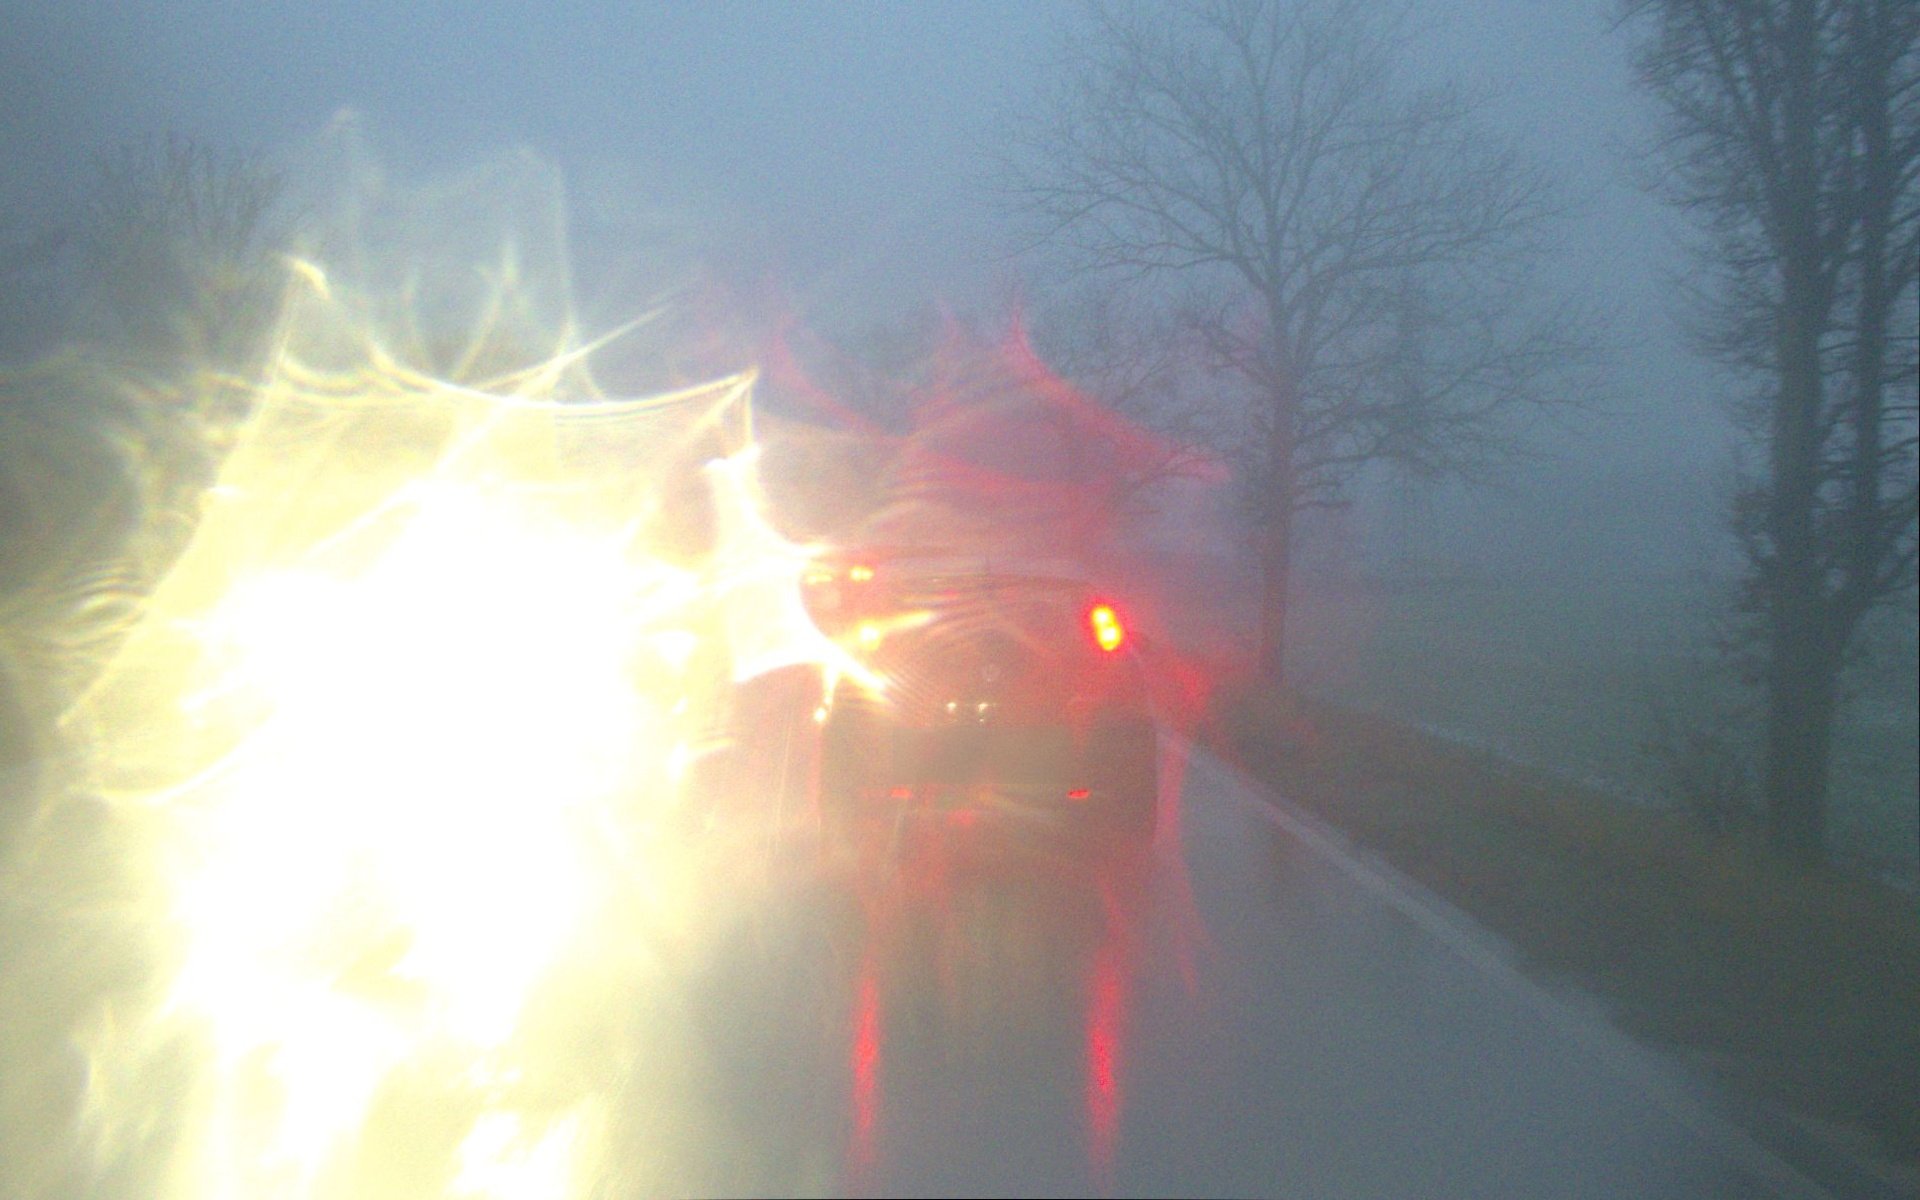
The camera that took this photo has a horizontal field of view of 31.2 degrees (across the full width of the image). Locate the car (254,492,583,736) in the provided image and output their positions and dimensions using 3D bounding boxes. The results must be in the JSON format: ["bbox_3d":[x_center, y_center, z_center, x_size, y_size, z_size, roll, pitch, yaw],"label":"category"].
[{"bbox_3d":[-4.069,0.046,26.522,1.863,1.694,4.468,1,1,-1],"label":"car"}]

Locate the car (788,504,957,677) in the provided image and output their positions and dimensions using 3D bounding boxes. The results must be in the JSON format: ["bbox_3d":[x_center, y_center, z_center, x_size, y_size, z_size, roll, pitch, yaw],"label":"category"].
[{"bbox_3d":[-1.029,-0.143,42.459,1.852,2.007,4.000,1,1,1],"label":"car"}]

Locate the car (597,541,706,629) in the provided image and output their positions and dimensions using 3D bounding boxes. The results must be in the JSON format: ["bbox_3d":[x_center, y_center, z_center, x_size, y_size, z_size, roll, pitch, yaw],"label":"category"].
[{"bbox_3d":[-5.425,-0.289,60.758,1.655,1.481,3.670,1,1,-1],"label":"car"}]

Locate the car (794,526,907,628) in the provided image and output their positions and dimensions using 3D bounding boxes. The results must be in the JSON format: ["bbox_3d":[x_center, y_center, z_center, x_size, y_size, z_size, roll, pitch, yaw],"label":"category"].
[{"bbox_3d":[-1.887,-0.435,60.374,1.863,1.694,4.468,1,1,-1],"label":"car"}]

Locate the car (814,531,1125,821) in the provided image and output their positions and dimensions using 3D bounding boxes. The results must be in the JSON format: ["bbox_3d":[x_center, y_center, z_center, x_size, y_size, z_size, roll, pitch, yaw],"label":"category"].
[{"bbox_3d":[0.086,0.345,18.423,1.500,1.393,3.199,1,1,1],"label":"car"}]
